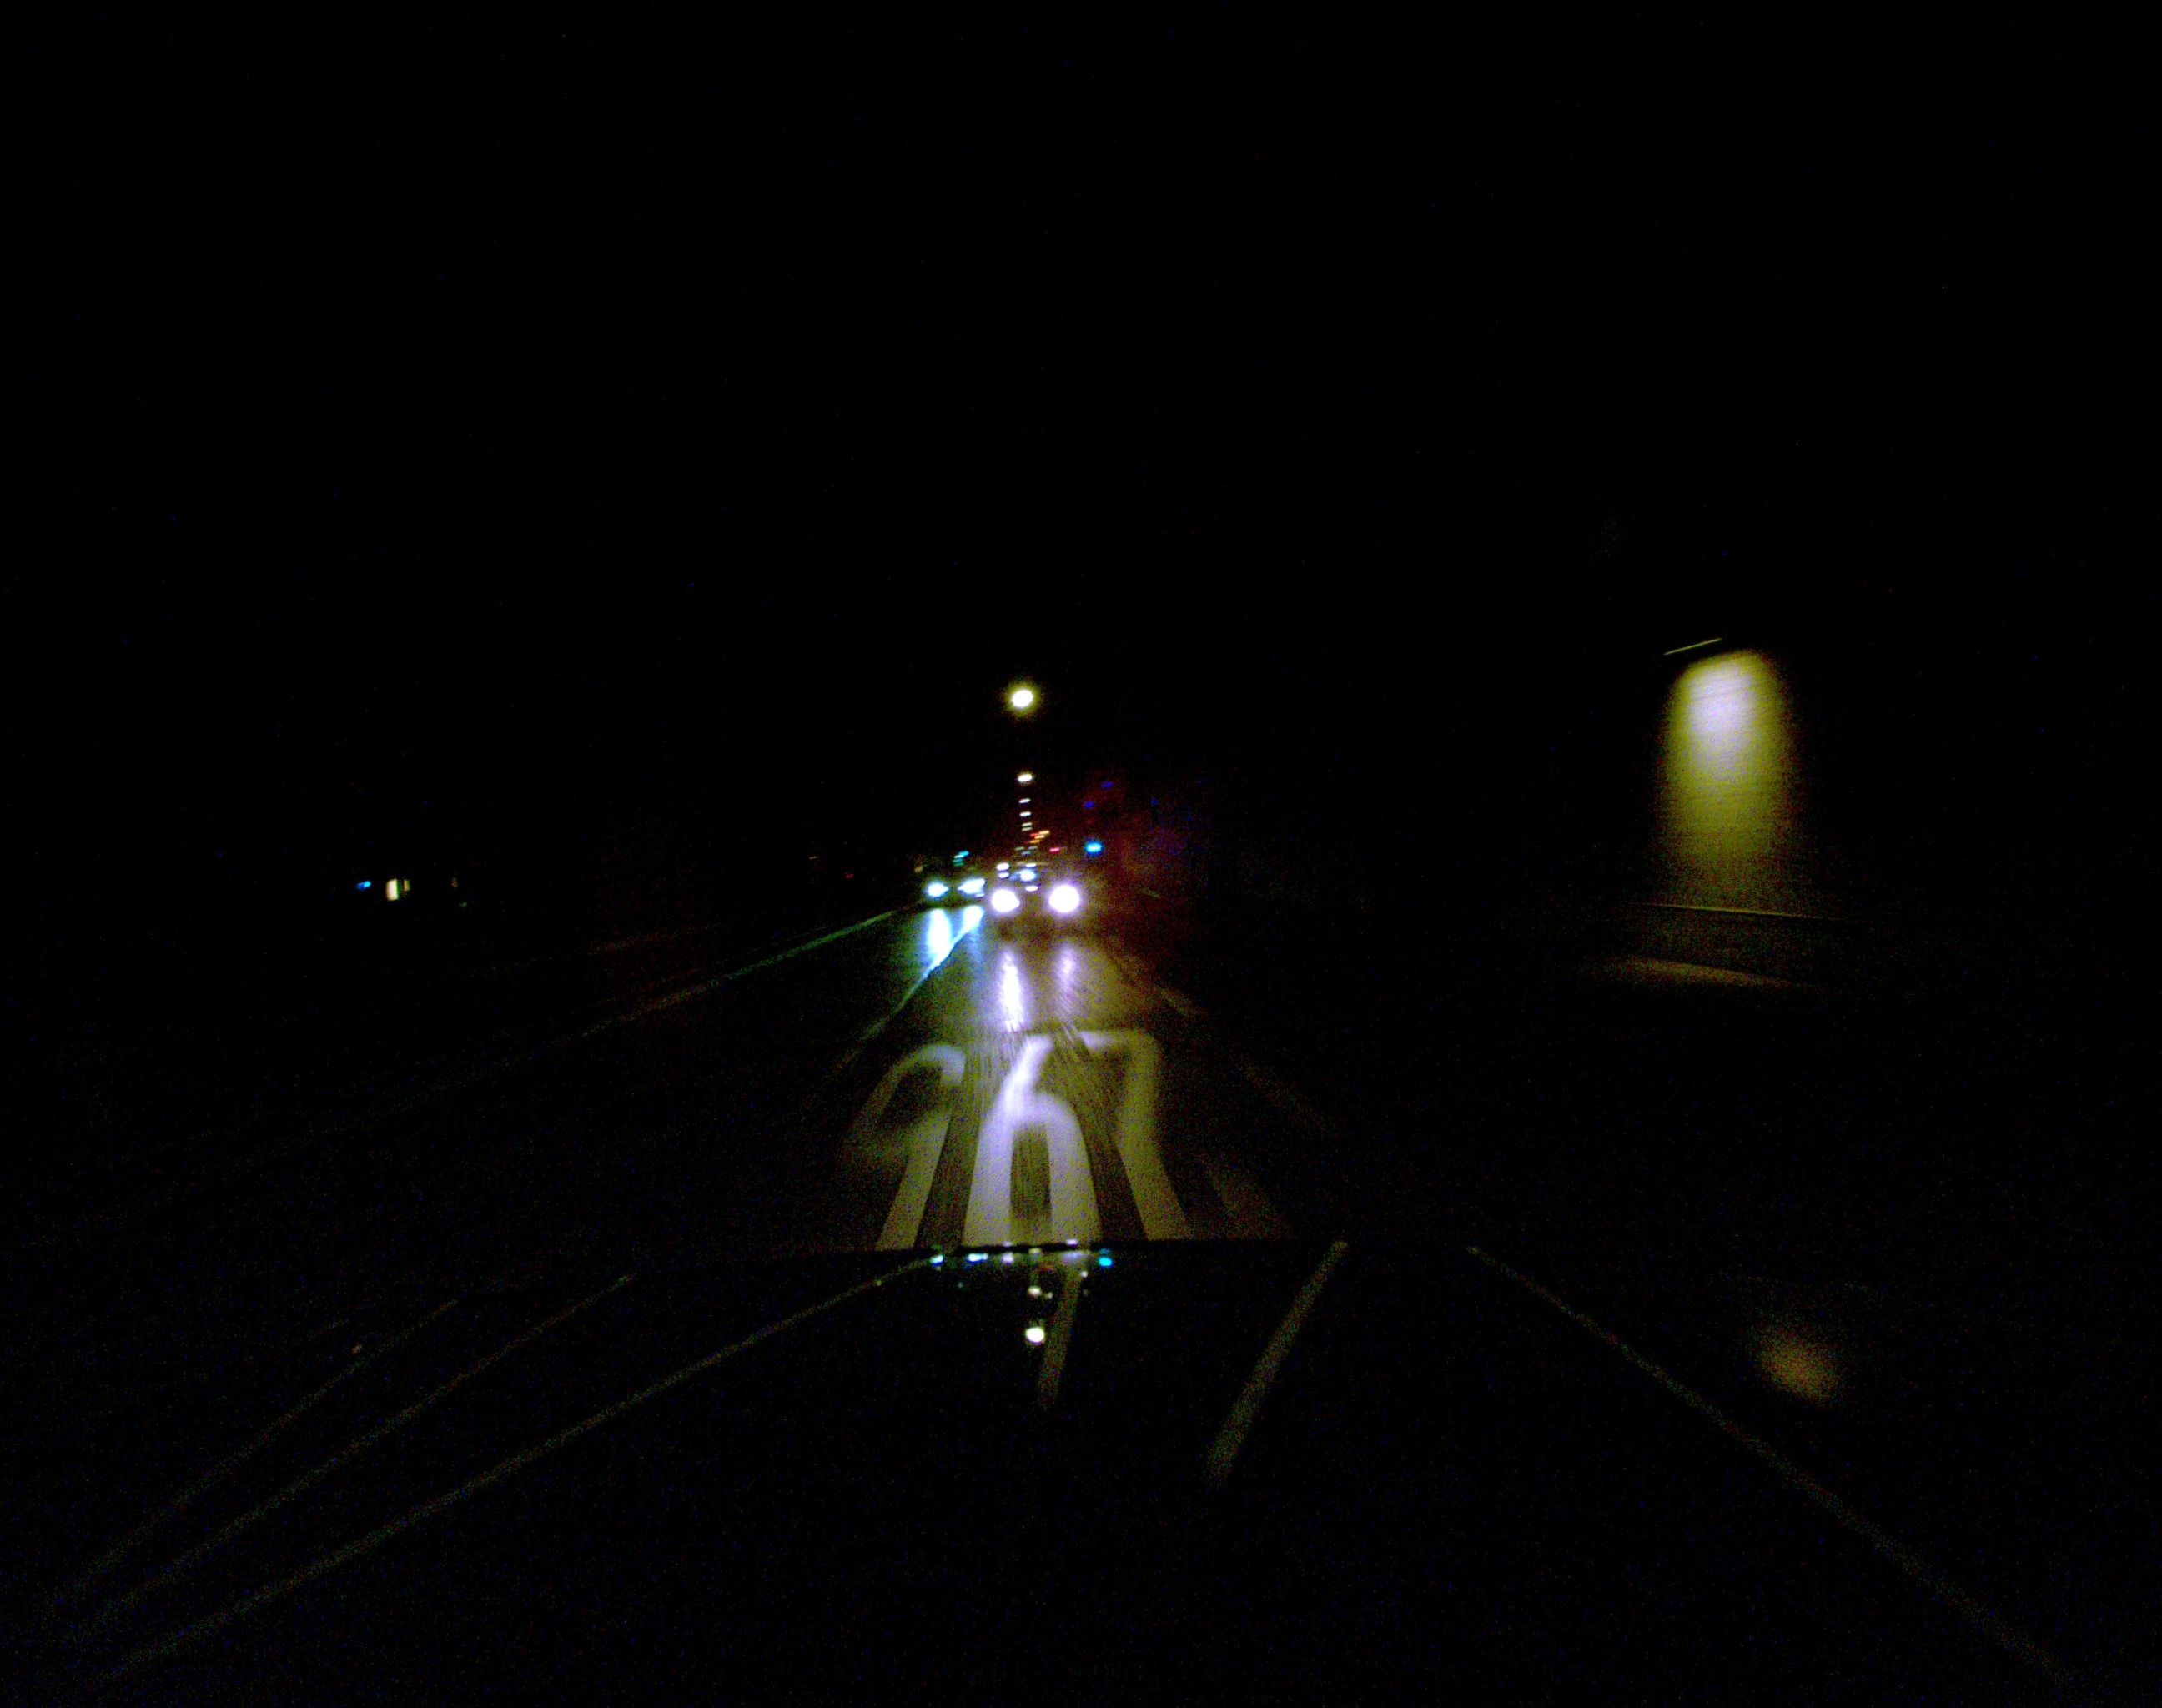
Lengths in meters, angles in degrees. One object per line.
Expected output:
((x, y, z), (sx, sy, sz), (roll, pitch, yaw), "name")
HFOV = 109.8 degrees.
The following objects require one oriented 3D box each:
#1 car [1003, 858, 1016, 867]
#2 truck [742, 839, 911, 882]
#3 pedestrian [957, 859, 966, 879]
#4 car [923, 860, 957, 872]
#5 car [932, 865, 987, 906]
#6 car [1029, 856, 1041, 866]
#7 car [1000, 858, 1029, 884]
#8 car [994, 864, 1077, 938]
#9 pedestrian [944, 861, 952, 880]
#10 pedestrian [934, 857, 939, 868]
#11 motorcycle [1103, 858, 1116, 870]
((-11.043, 1.330, 117.989), (1.619, 1.259, 3.627), (-3, 0, -1), "car")
((-27.014, 0.603, 81.361), (16.826, 3.961, 3.130), (-2, 1, -4), "truck")
((-10.729, 1.360, 68.169), (0.623, 1.800, 0.759), (-2, 1, -3), "pedestrian")
((-17.939, 1.537, 96.848), (4.093, 1.446, 1.786), (-2, 1, -4), "car")
((-4.927, 1.248, 31.413), (1.729, 1.421, 4.496), (-3, 0, -3), "car")
((-8.369, 1.281, 138.741), (1.999, 1.626, 4.000), (-2, 0, -1), "car")
((-4.259, 1.080, 49.002), (1.729, 1.455, 3.998), (-2, 1, -4), "car")
((-0.999, 0.979, 17.416), (1.634, 1.429, 3.840), (-2, -1, -2), "car")
((-11.894, 1.474, 67.949), (0.623, 1.629, 0.679), (-2, 1, -3), "pedestrian")
((-22.952, 1.371, 120.693), (0.721, 1.778, 0.969), (-2, 1, -3), "pedestrian")
((2.983, 1.070, 79.465), (0.574, 1.173, 2.029), (-2, 0, -21), "motorcycle")
